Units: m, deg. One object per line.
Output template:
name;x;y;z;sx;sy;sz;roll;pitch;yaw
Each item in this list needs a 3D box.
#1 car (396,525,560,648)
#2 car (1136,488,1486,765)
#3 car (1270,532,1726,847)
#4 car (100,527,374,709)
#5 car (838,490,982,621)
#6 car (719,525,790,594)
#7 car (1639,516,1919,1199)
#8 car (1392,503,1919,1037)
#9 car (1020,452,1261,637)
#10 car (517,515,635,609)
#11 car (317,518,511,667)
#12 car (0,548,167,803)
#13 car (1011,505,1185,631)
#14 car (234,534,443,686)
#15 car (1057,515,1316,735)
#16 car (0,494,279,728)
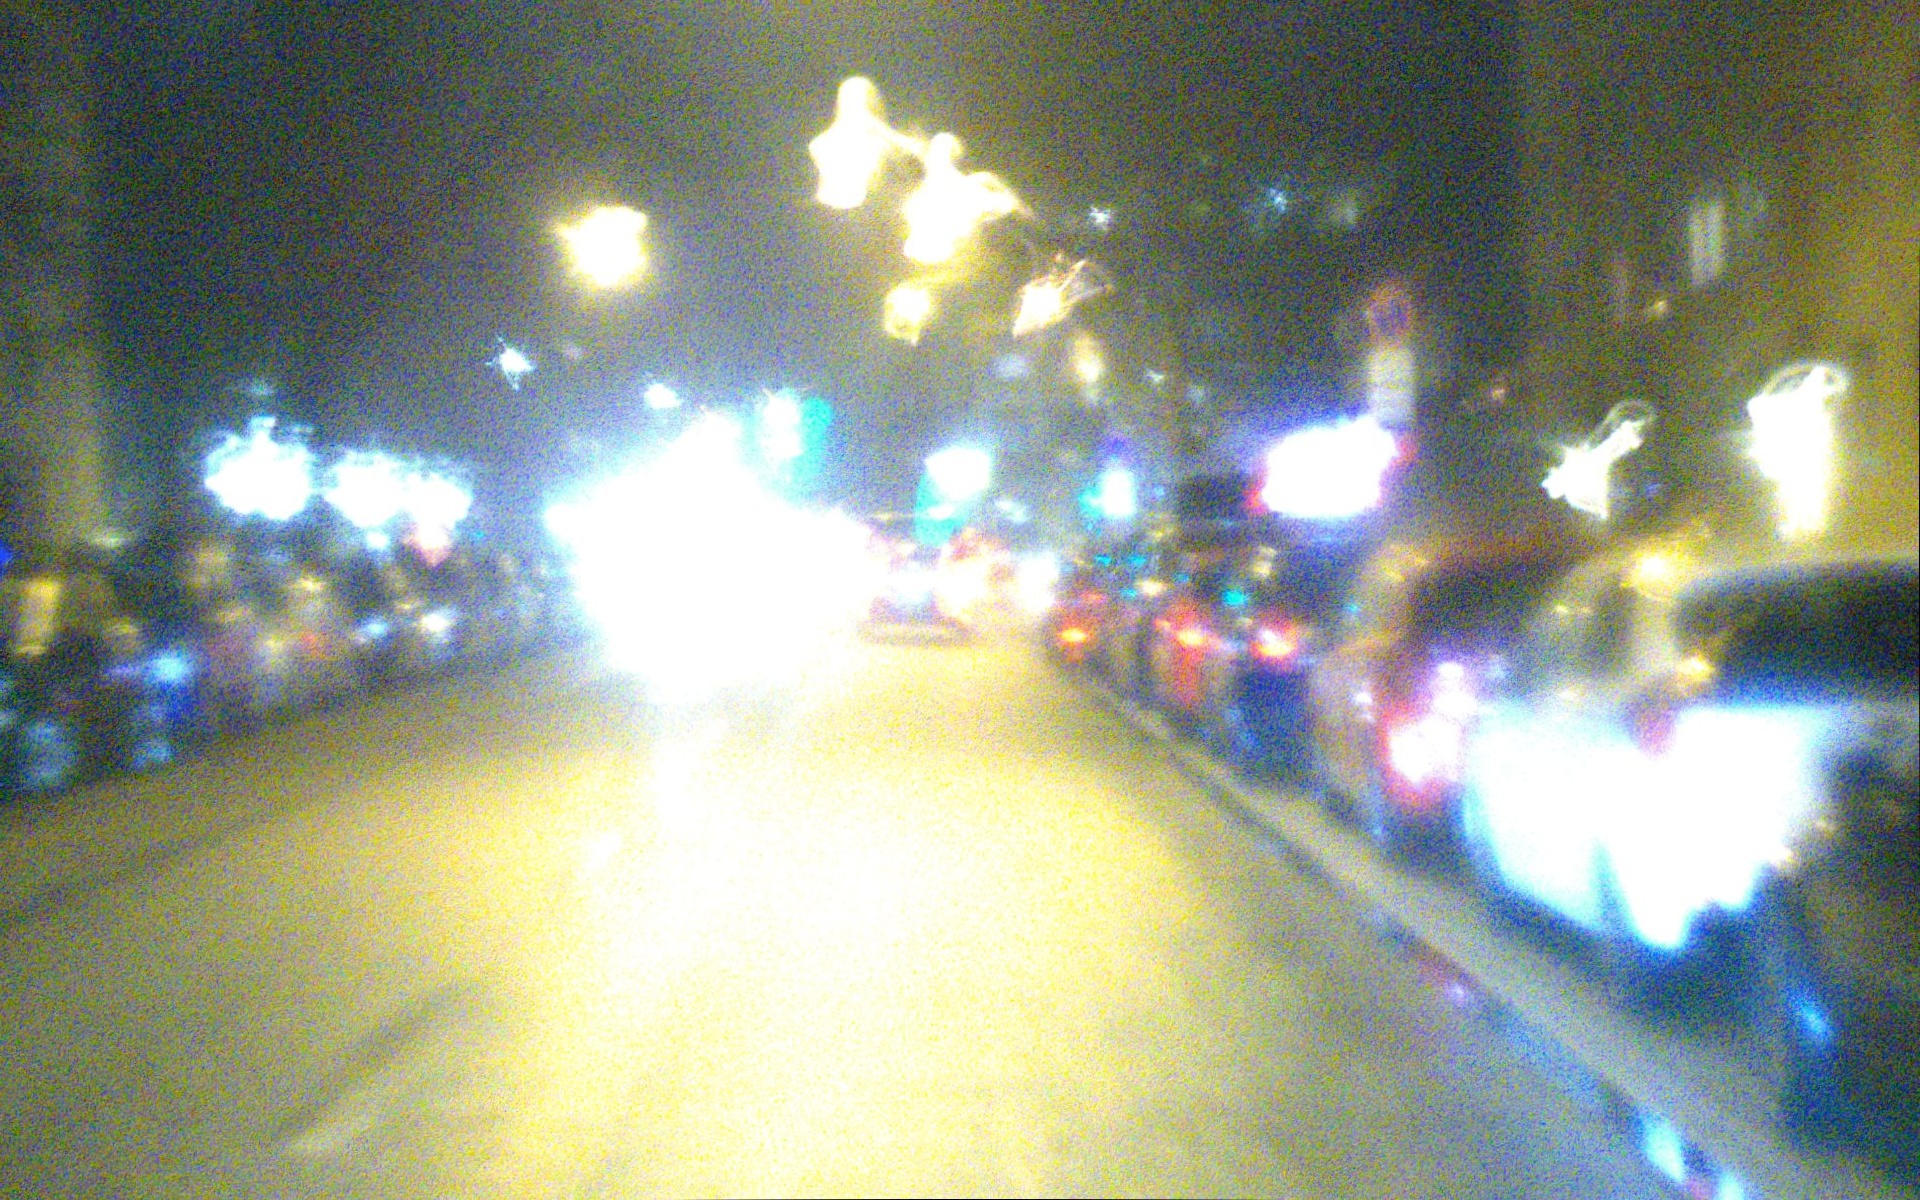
car;-6.586;-0.225;47.350;1.598;1.481;4.275;-4;1;0
car;2.187;0.095;22.650;1.754;1.542;4.978;-3;1;0
car;2.523;0.356;16.872;1.456;1.301;3.629;-3;1;-3
car;-6.677;0.103;32.226;1.637;1.451;4.934;-4;1;-2
car;-0.820;-0.730;55.033;2.168;1.965;4.302;-1;1;-1
car;-6.598;-1.316;110.110;2.034;1.946;5.201;-4;2;-4
car;2.855;0.534;7.162;1.795;1.442;4.280;-3;1;-3
car;2.751;0.435;12.086;1.674;1.482;4.280;-3;1;-3
car;1.614;-0.544;32.378;1.799;1.525;5.052;-3;1;-2
car;-7.010;-0.723;63.095;1.598;1.558;4.380;-4;1;0
car;-6.554;-0.137;41.638;1.598;1.599;4.259;-4;1;0
car;-6.207;0.464;21.826;1.431;1.455;3.374;-4;1;1
car;1.676;-0.433;43.216;1.822;1.417;4.489;-3;1;-2
car;-6.634;0.060;37.044;1.598;1.426;4.005;-4;1;-2
car;1.734;0.134;27.554;1.824;1.542;4.352;-3;1;1
car;-6.412;0.044;27.024;1.474;1.614;3.374;-4;1;-2
